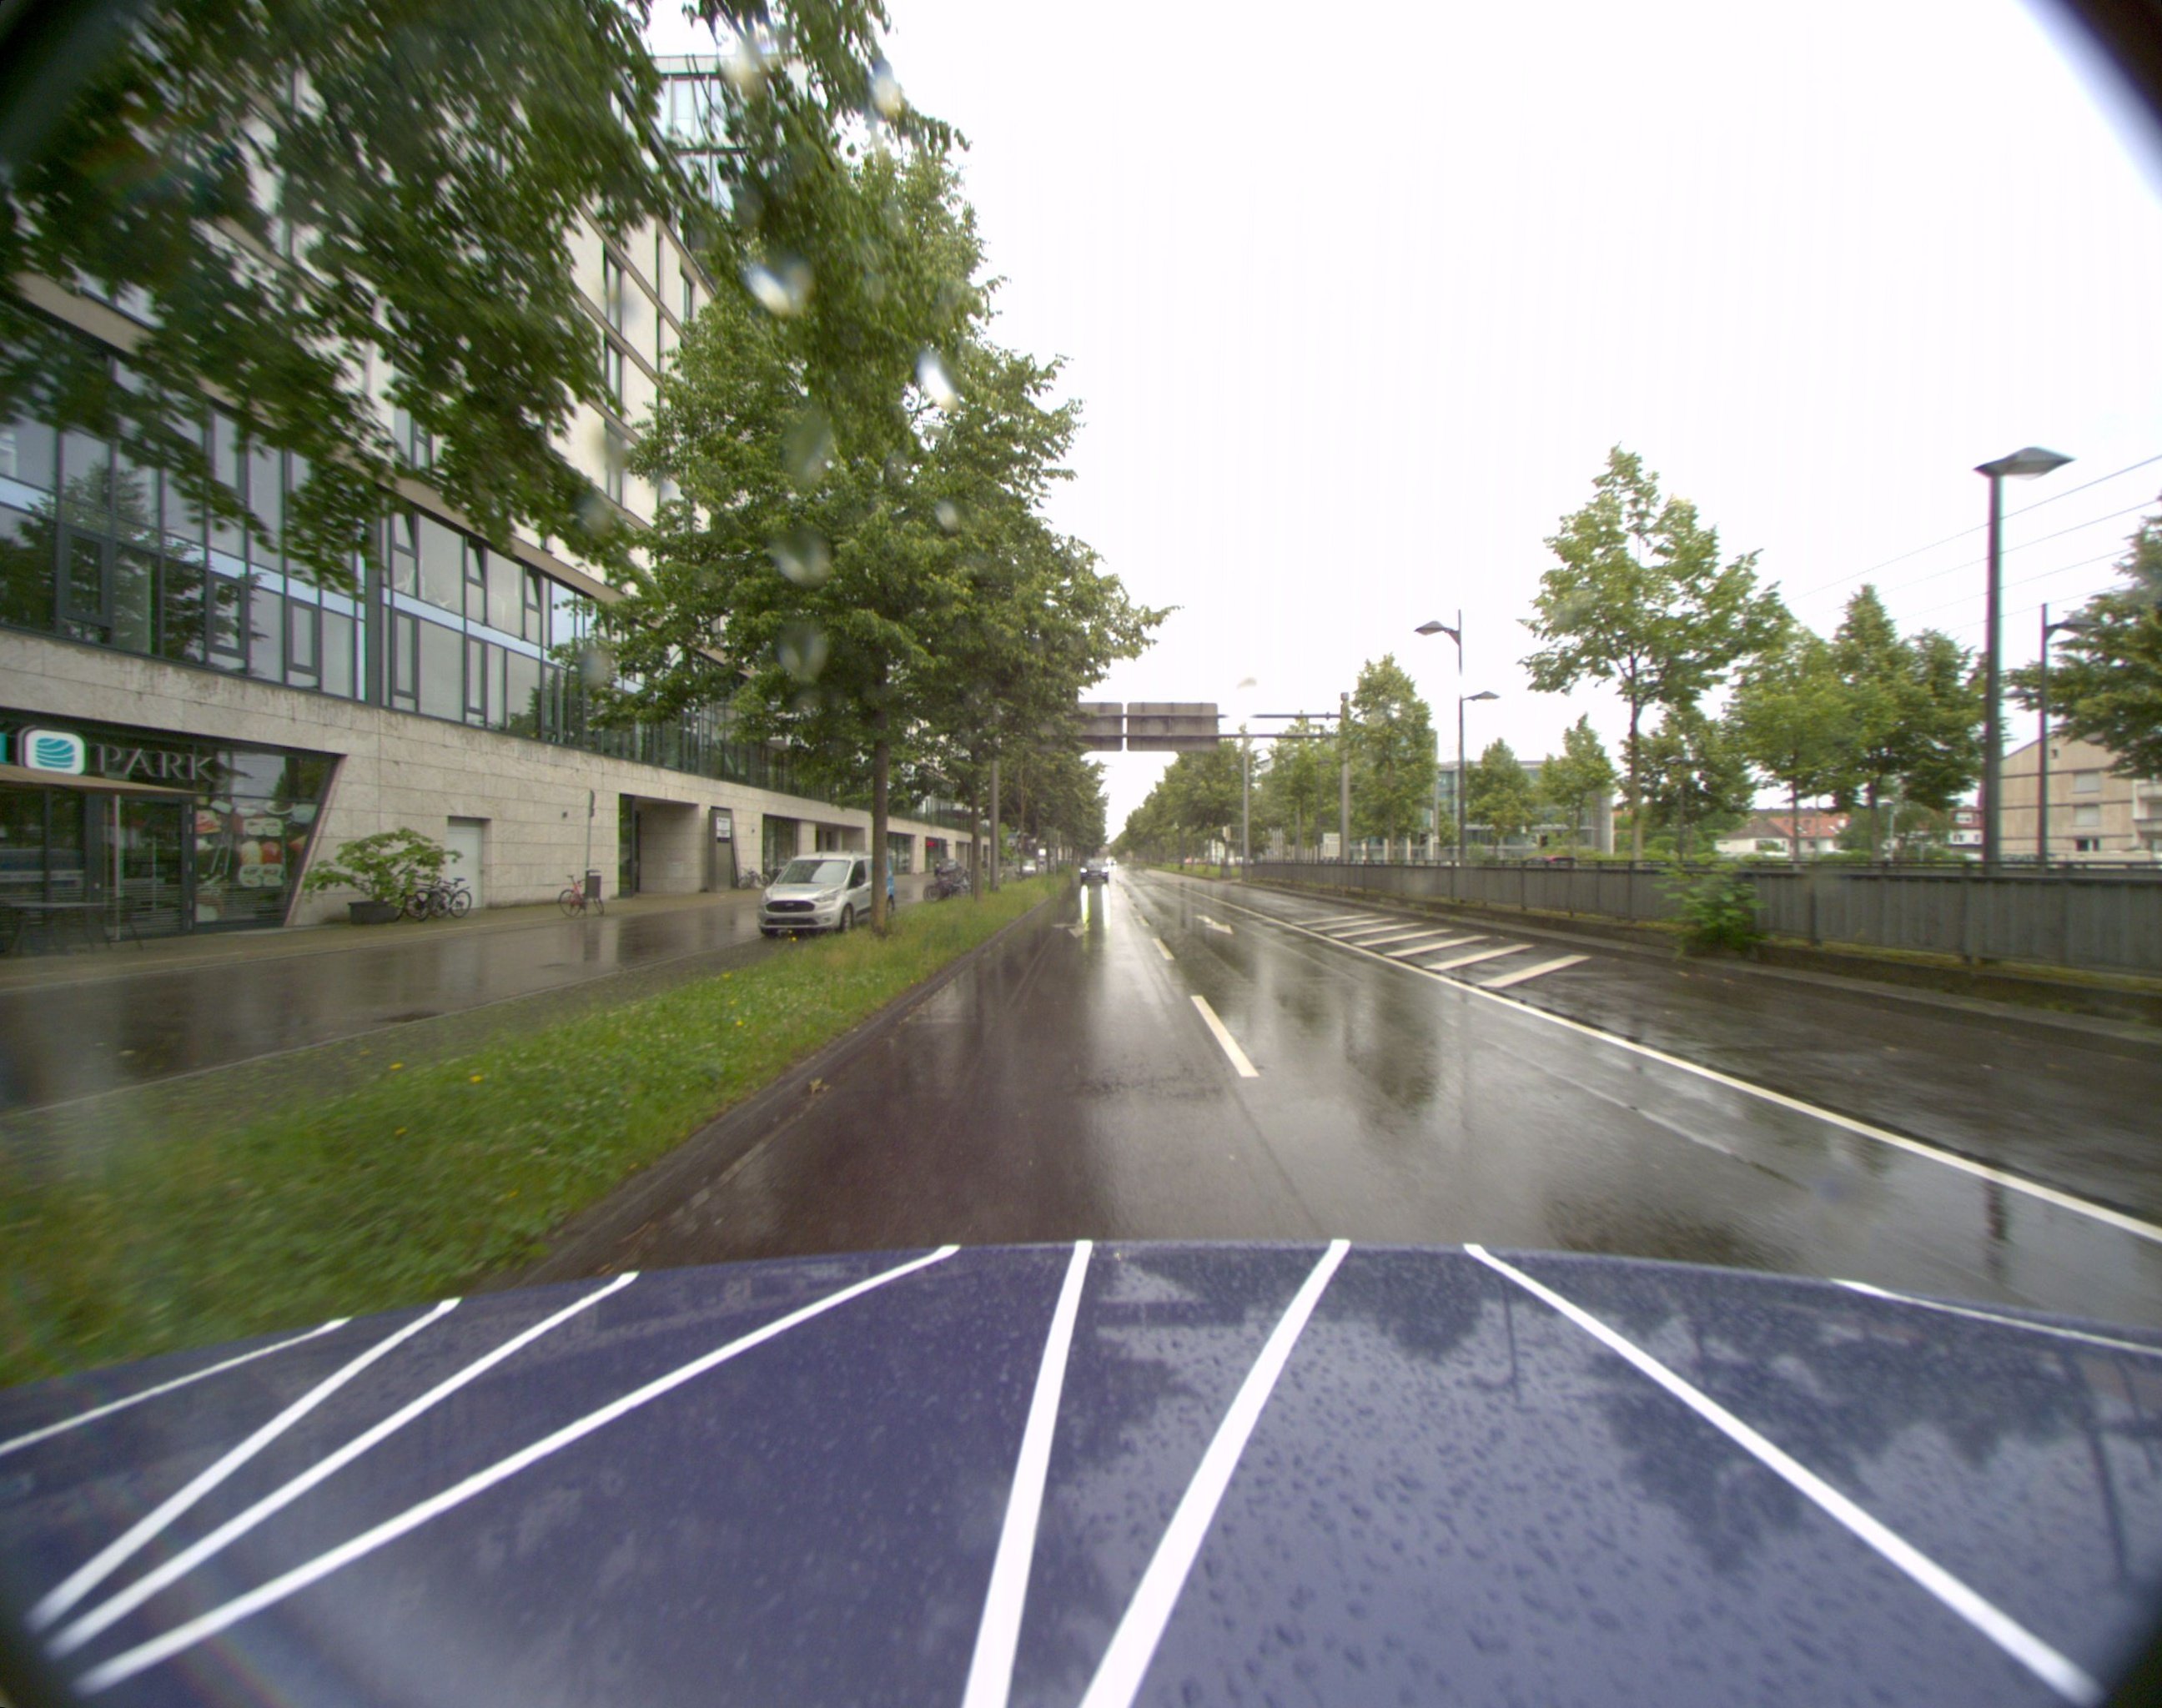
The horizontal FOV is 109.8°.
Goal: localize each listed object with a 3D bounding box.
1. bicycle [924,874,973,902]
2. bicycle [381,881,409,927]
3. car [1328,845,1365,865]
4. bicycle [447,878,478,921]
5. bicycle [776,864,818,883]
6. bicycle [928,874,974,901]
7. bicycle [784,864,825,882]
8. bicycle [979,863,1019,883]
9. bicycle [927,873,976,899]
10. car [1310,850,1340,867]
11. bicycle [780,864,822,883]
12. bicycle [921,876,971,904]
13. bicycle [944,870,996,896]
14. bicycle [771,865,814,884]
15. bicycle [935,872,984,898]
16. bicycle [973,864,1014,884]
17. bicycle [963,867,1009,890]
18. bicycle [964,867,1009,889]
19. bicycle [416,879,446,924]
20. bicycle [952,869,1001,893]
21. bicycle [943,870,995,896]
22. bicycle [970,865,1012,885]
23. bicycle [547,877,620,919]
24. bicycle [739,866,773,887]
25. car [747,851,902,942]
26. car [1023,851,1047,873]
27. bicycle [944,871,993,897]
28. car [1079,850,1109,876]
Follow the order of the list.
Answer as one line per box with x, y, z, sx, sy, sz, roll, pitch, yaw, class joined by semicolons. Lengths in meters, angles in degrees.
-4.870;1.259;27.992;1.698;0.940;0.395;-2;1;-2;bicycle
-15.154;1.078;16.775;0.396;0.940;2.024;-3;1;-43;bicycle
24.334;0.056;69.792;1.999;1.736;3.999;-2;1;0;car
-14.606;1.047;17.918;0.396;0.940;2.024;-3;1;-43;bicycle
-14.780;1.026;39.573;2.028;0.940;0.395;1;1;-2;bicycle
-4.910;1.267;28.708;1.649;0.940;0.395;-2;1;-2;bicycle
-14.809;1.011;40.746;2.028;0.940;0.395;1;1;-2;bicycle
-4.407;1.027;40.973;2.040;0.940;0.519;-2;1;-2;bicycle
-4.970;1.229;29.266;1.792;0.940;0.395;-2;1;-2;bicycle
27.676;0.500;86.206;1.999;1.736;3.999;-2;1;0;car
-14.807;1.025;40.167;2.028;0.940;0.395;1;1;-2;bicycle
-4.843;1.286;27.278;1.666;0.940;0.395;-2;1;-2;bicycle
-4.579;1.190;31.422;2.040;0.940;0.395;-2;1;-2;bicycle
-14.764;1.028;38.872;2.028;0.940;0.395;1;1;-2;bicycle
-4.778;1.214;29.922;1.861;0.940;0.395;-2;1;-2;bicycle
-4.598;1.044;40.001;2.040;0.940;0.519;-2;1;-2;bicycle
-4.424;1.146;35.343;2.040;0.940;0.466;-2;1;-2;bicycle
-4.497;1.140;36.301;2.040;0.940;0.542;-2;1;-2;bicycle
-14.907;1.062;17.407;0.396;0.940;2.024;-3;1;-43;bicycle
-4.503;1.174;32.767;2.040;0.940;0.395;-2;1;-2;bicycle
-4.570;1.191;30.984;2.006;0.940;0.395;-2;1;-2;bicycle
-4.554;1.056;38.585;2.040;0.940;0.519;-2;1;-2;bicycle
-12.707;1.110;19.479;0.402;0.940;1.860;-1;1;9;bicycle
-15.096;1.048;35.300;1.657;0.940;0.347;1;1;21;bicycle
-5.583;0.828;17.290;1.746;1.749;4.848;-1;0;1;car
-4.015;0.672;66.302;1.658;1.710;4.000;-2;1;1;car
-4.512;1.195;30.493;1.882;0.940;0.395;-2;1;-2;bicycle
0.926;0.569;50.444;1.815;1.603;4.000;-2;1;3;car
